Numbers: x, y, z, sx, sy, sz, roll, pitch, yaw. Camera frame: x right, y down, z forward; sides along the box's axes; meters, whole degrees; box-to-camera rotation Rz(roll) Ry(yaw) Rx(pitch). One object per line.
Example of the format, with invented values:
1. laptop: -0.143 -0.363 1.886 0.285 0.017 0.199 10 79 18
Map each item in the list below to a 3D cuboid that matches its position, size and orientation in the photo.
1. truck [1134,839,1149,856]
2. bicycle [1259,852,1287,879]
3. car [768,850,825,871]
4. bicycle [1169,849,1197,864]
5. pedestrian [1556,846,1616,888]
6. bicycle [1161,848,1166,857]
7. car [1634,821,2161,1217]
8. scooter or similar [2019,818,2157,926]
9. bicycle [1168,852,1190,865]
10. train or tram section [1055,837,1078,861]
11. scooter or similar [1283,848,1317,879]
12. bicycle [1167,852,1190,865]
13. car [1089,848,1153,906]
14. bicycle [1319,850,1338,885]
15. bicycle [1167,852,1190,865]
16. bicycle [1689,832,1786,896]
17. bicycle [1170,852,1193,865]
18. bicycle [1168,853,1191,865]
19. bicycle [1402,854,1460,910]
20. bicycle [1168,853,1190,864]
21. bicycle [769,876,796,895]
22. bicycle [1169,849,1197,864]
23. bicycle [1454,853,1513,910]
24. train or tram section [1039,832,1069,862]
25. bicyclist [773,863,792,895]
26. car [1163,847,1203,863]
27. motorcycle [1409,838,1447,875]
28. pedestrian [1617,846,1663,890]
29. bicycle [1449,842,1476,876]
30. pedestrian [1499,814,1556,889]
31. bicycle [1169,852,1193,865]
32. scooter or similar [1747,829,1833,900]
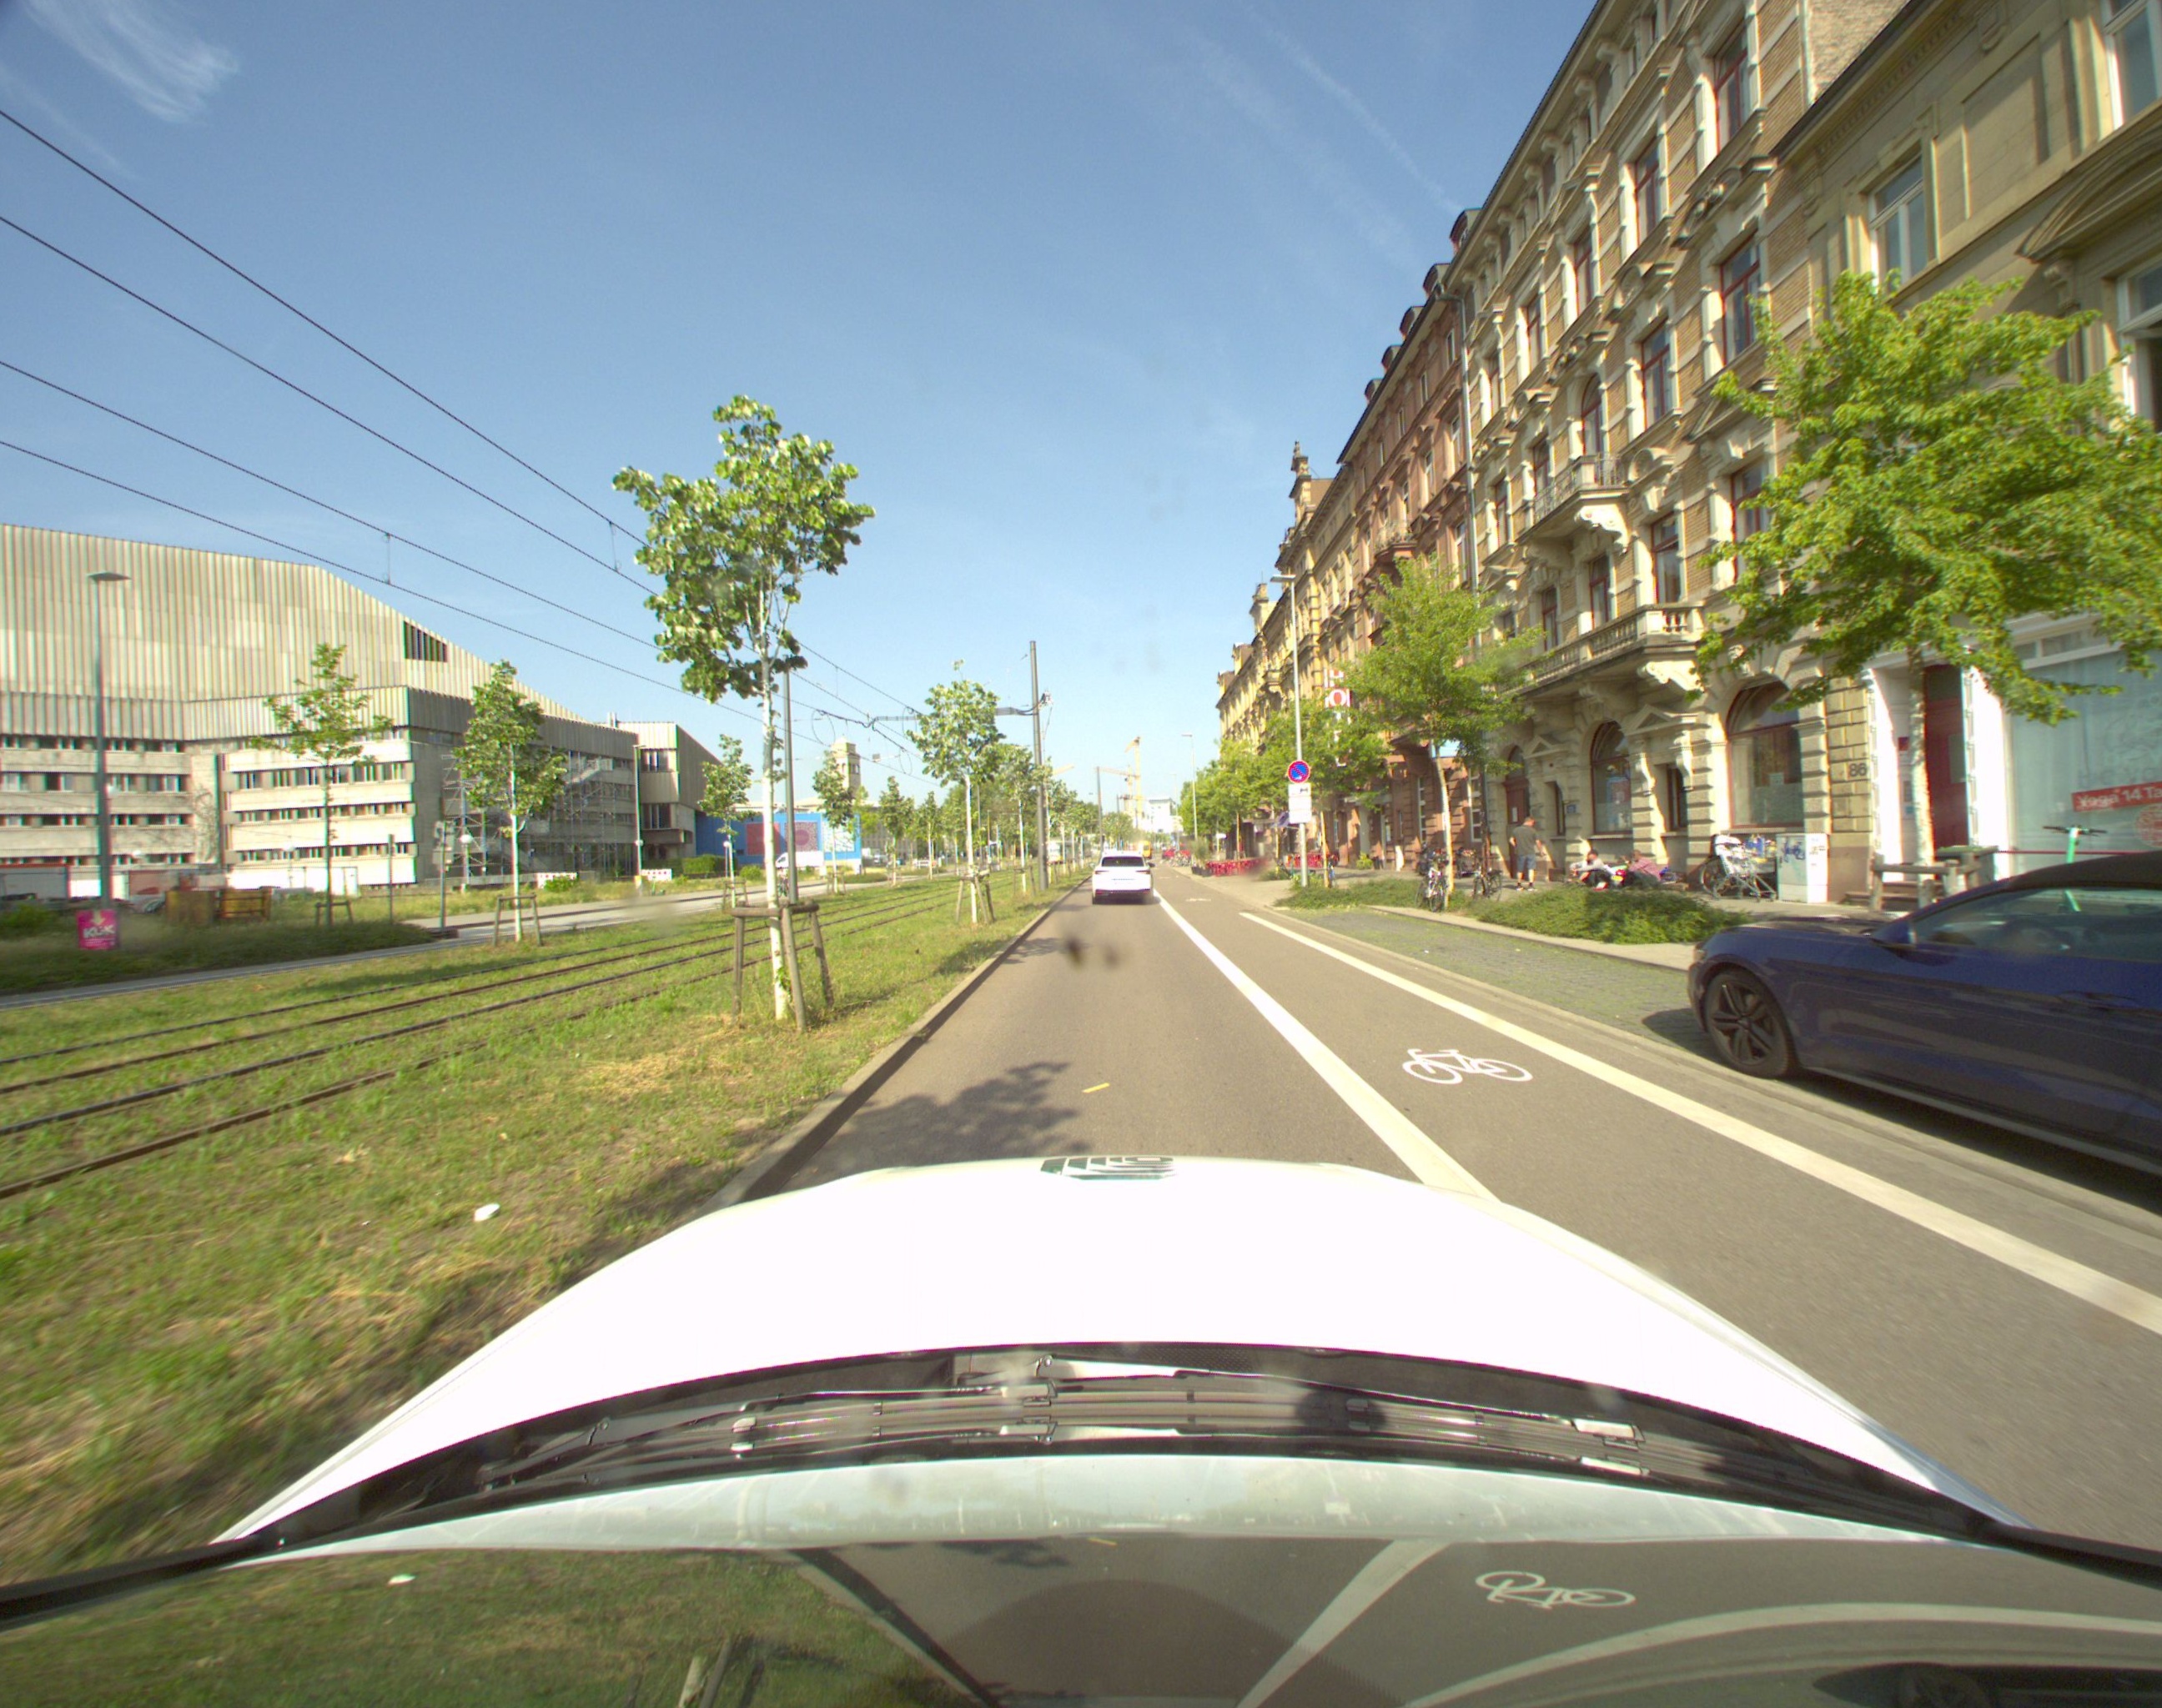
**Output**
1. truck: 9.097 -0.976 122.113 2.203 2.318 5.897 -2 0 4
2. bicycle: 8.283 0.479 35.137 0.594 1.122 1.923 -2 0 -4
3. car: -36.498 0.869 104.713 6.895 2.638 2.498 0 0 -19
4. bicycle: 8.529 0.215 67.872 2.229 1.104 0.589 -4 0 3
5. pedestrian: 11.580 0.289 18.705 0.875 0.876 0.711 -4 0 -1
6. bicycle: 14.083 -0.342 139.229 0.778 1.496 2.803 -2 0 4
7. car: 4.860 0.584 3.662 1.729 1.396 4.719 -4 0 4
8. scooter or similar: 11.296 0.185 9.172 0.287 1.134 1.091 -2 0 8
9. bicycle: 8.865 0.407 73.981 1.924 0.945 0.429 -4 0 6
10. train or tram section: -2.338 -0.742 134.665 2.886 3.586 12.234 -3 0 3
11. scooter or similar: 9.103 0.389 33.878 1.250 1.157 0.340 -5 -1 6
12. bicycle: 8.817 0.405 73.599 1.924 0.945 0.441 -4 0 6
13. car: 1.239 0.652 25.509 1.810 1.590 4.409 -2 0 2
14. bicycle: 8.187 0.438 26.933 0.501 1.060 1.721 -4 1 17
15. bicycle: 8.762 0.403 73.121 1.924 0.945 0.441 -4 0 6
16. bicycle: 11.879 0.178 14.792 0.450 1.083 1.445 -2 0 -7
17. bicycle: 8.541 0.406 69.233 1.926 0.986 0.471 -4 0 3
18. bicycle: 8.587 0.460 71.025 1.926 0.874 0.441 -4 0 3
19. bicycle: 7.330 0.551 17.130 0.490 1.093 1.828 -2 0 3
20. bicycle: 8.932 0.409 74.421 1.924 0.945 0.429 -4 0 6
21. bicycle: -16.837 1.788 45.979 0.659 0.961 2.079 -4 0 2
22. bicycle: 8.580 0.218 68.426 2.229 1.104 0.519 -4 0 3
23. bicycle: 8.034 0.529 16.220 0.449 1.082 1.889 -4 -3 44
24. train or tram section: -3.502 -0.858 109.502 2.887 3.586 12.483 -3 0 2
25. bicyclist: -16.864 1.406 46.024 0.644 1.736 0.919 -4 -1 2
26. car: 12.073 0.145 96.306 4.313 1.684 2.012 -2 0 43
27. motorcycle: 11.744 0.080 27.589 0.461 1.175 1.947 -4 0 3
28. pedestrian: 11.668 0.285 17.005 0.569 0.855 0.457 -5 0 -4
29. bicycle: 12.120 0.153 25.878 0.394 1.018 1.258 -2 0 8
30. pedestrian: 10.615 -0.056 19.386 0.821 1.696 0.792 -4 0 -2
31. bicycle: 8.590 0.409 69.712 1.947 0.986 0.471 -4 0 3
32. scooter or similar: 11.773 0.165 13.551 0.604 1.125 0.932 -2 0 2
